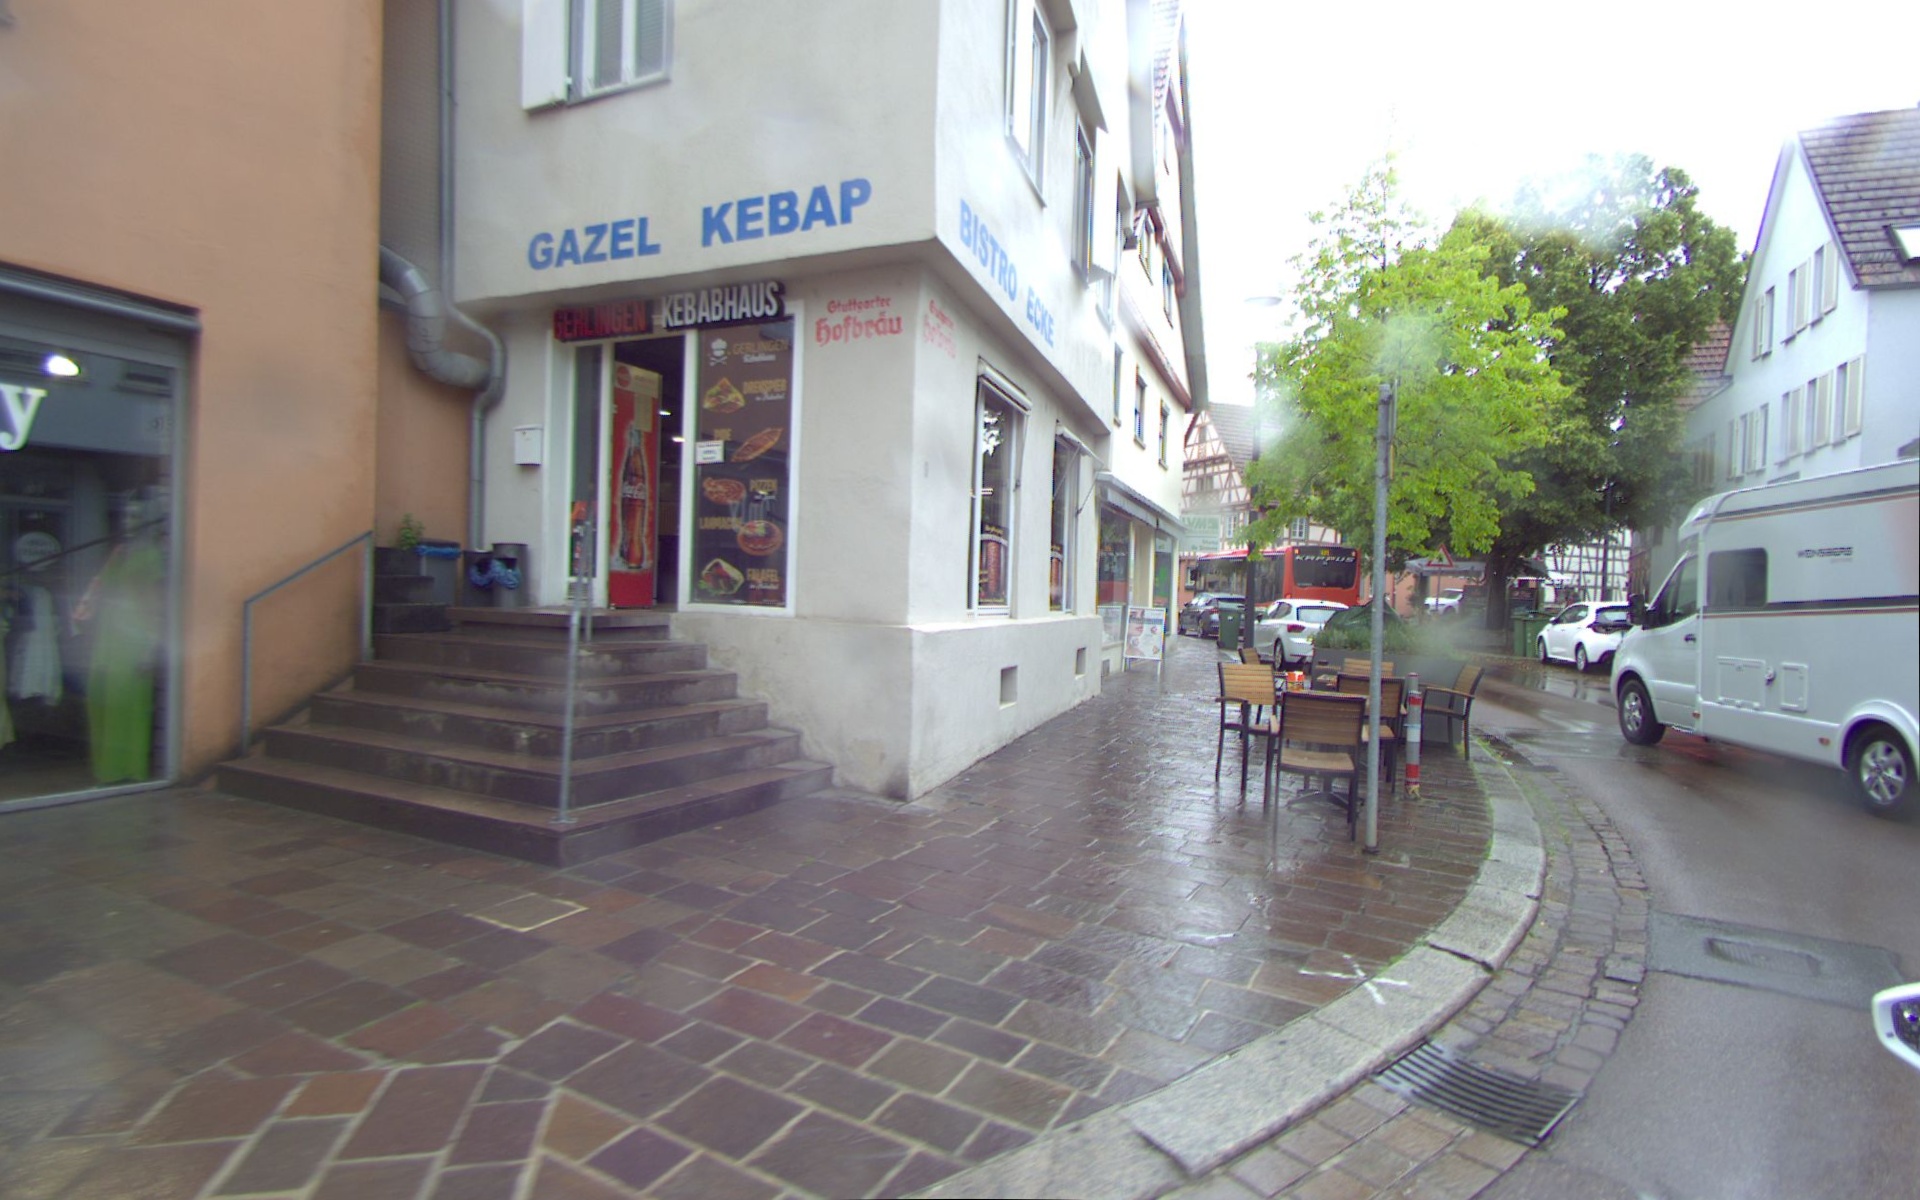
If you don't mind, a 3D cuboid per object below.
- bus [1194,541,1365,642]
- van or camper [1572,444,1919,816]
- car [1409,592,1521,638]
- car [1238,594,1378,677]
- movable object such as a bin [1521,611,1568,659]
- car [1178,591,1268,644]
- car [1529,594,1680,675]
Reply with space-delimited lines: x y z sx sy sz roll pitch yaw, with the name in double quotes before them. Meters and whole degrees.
"bus" 11.308 -0.304 36.950 2.766 3.130 10.605 -1 0 -1
"van or camper" 8.209 0.223 8.713 2.396 2.620 6.754 2 1 8
"car" 18.102 0.523 36.142 3.470 1.498 1.580 2 0 25
"car" 7.242 0.678 21.305 1.692 1.433 3.981 4 1 3
"movable object such as a bin" 14.521 0.858 24.983 0.819 1.127 0.561 2 0 9
"car" 8.271 0.511 31.930 1.693 1.433 3.979 2 1 -2
"car" 13.967 0.675 22.010 1.648 1.549 3.800 1 1 14
